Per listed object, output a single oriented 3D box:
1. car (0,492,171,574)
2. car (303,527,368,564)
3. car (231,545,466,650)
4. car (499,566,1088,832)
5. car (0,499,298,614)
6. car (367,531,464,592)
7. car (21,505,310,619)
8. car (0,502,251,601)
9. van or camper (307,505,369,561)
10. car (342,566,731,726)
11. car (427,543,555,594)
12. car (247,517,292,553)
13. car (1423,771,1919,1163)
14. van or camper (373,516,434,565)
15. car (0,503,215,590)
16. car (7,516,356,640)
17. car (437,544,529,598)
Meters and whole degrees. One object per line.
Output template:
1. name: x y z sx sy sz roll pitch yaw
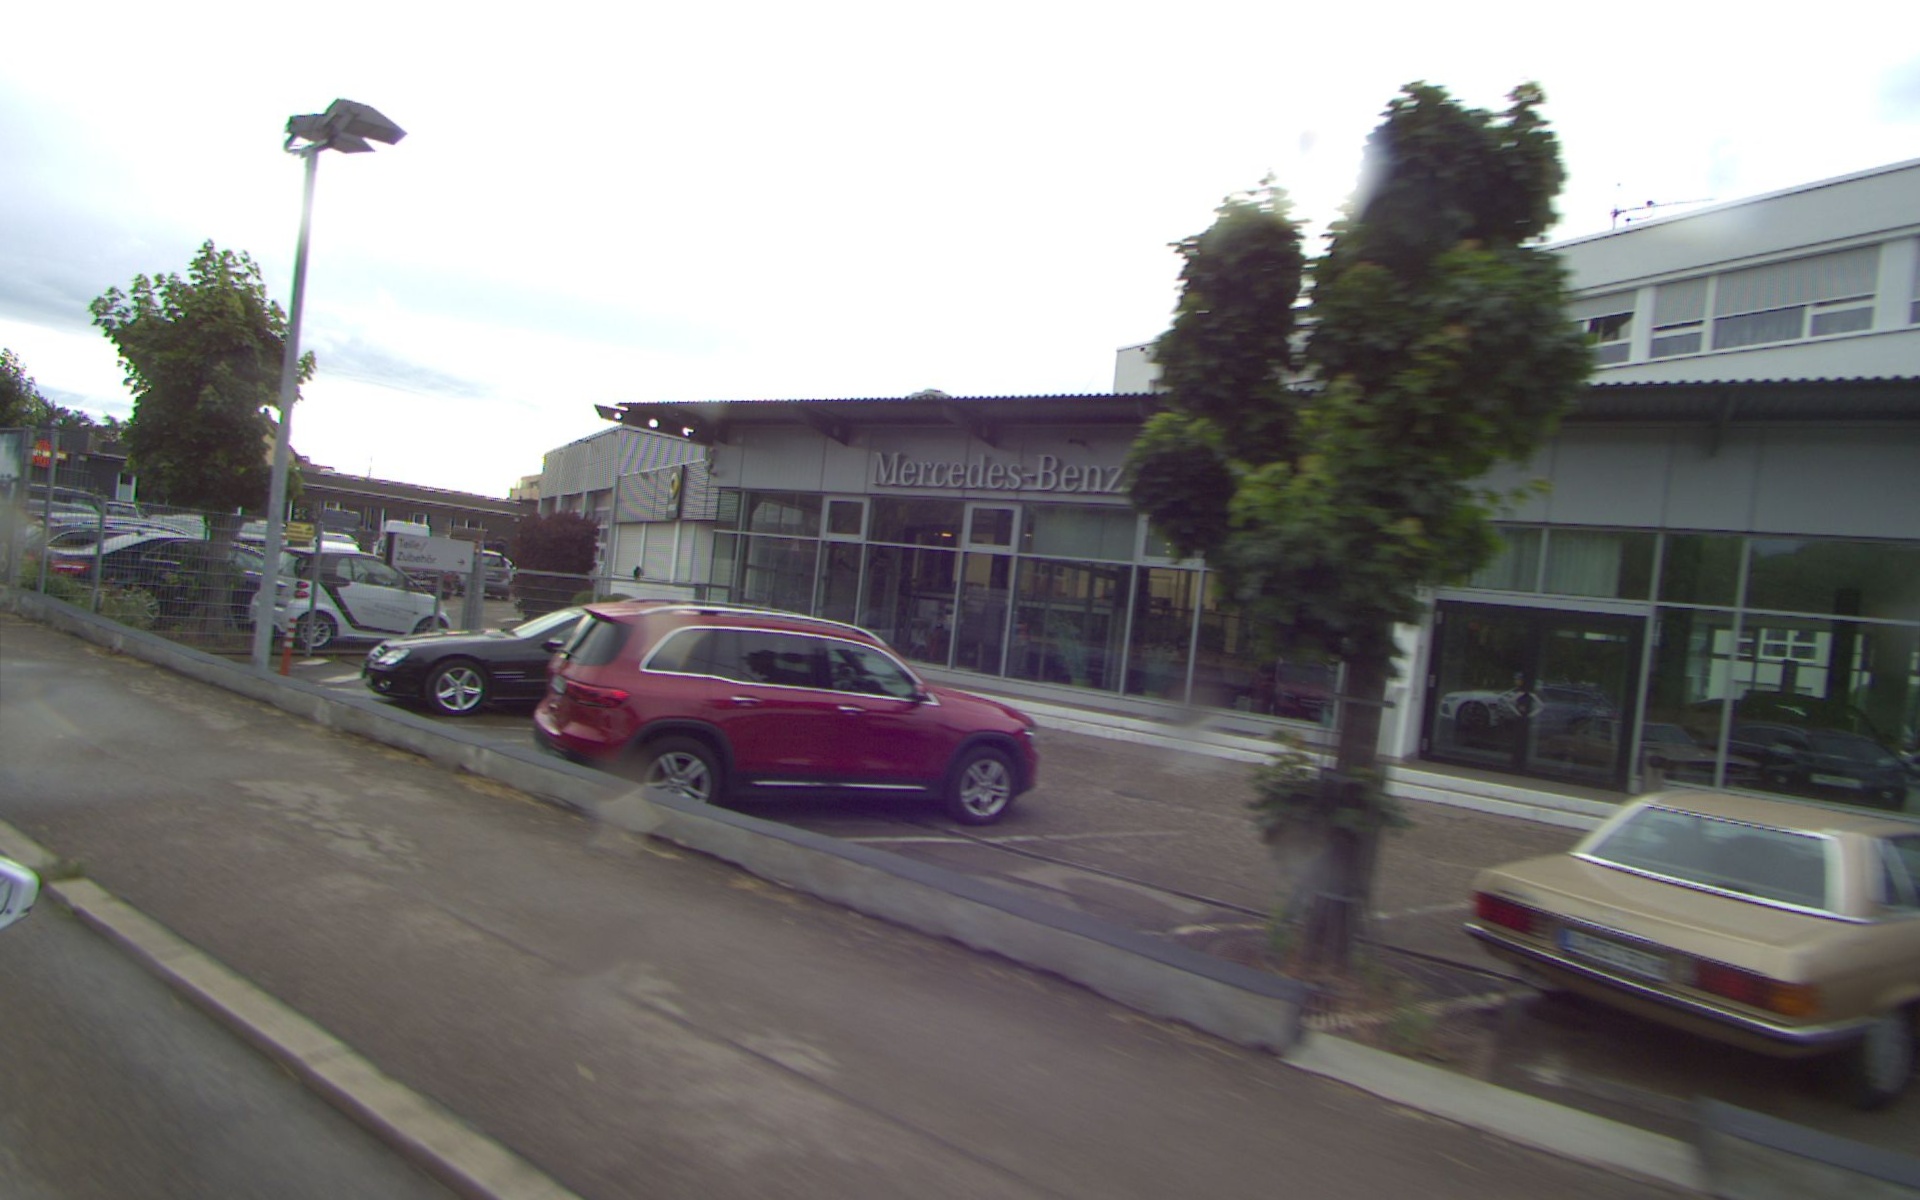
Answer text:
1. car: -21.882 -1.656 24.412 1.766 1.419 3.984 5 -4 43
2. car: -30.457 -2.642 48.988 1.885 1.435 4.417 10 -4 -40
3. car: -10.100 -0.013 16.719 1.969 1.463 2.718 5 0 35
4. car: -1.381 0.939 8.985 4.652 1.680 1.985 10 -4 -31
5. car: -14.746 -0.724 18.405 1.567 1.423 3.997 6 -4 32
6. car: -16.700 -1.156 30.740 1.984 1.435 3.963 9 -4 -36
7. car: -16.075 -0.716 20.555 1.939 1.615 4.177 5 -4 37
8. car: -18.018 -1.005 21.691 1.971 1.419 3.989 5 -4 39
9. van or camper: -33.811 -3.675 54.602 2.319 2.589 5.684 6 1 -35
10. car: -5.216 0.601 12.595 4.121 1.458 1.796 8 0 -30
11. car: -19.844 -1.308 42.633 4.607 1.415 1.706 9 -3 -32
12. car: -35.695 -3.364 51.965 1.629 1.591 3.360 6 1 -38
13. car: 4.838 1.853 5.907 4.190 1.316 1.723 7 -3 -31
14. van or camper: -27.315 -2.842 49.277 1.982 1.959 5.385 9 -3 -33
15. car: -19.993 -1.232 23.321 1.798 1.451 3.985 7 -1 39
16. car: -12.809 -0.300 16.812 1.968 1.385 4.115 5 -4 34
17. car: -16.190 -0.969 34.040 1.984 1.435 3.963 10 -4 -36
